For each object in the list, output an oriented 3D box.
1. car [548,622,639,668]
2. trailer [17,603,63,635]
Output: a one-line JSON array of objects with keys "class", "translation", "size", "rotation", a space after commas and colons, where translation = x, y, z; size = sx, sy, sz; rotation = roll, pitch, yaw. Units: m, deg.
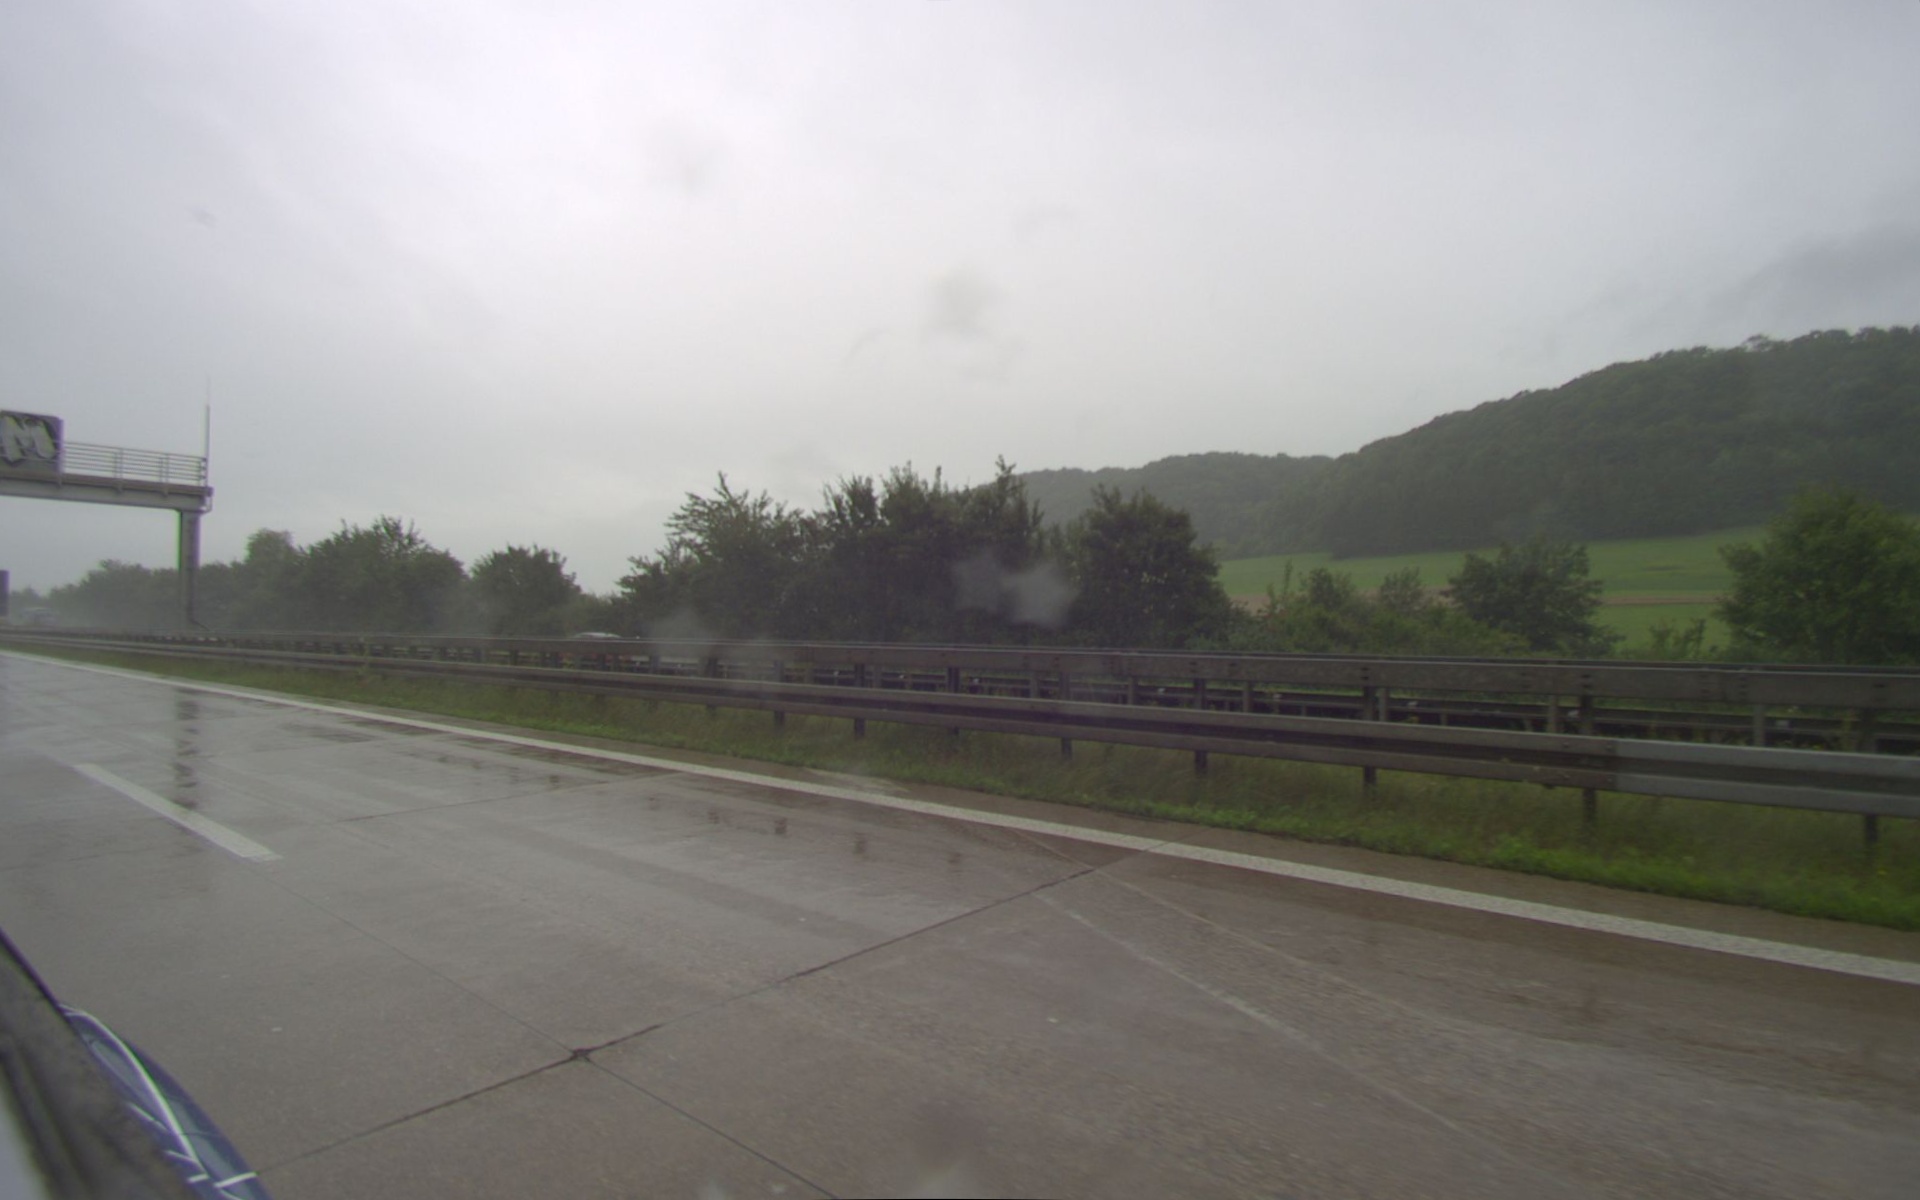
[{"class": "car", "translation": [-15.567, 1.870, 42.901], "size": [3.998, 1.796, 1.973], "rotation": [-1, 0, 41]}, {"class": "trailer", "translation": [-126.960, 2.605, 139.565], "size": [11.394, 4.205, 3.321], "rotation": [-1, -1, 41]}]
